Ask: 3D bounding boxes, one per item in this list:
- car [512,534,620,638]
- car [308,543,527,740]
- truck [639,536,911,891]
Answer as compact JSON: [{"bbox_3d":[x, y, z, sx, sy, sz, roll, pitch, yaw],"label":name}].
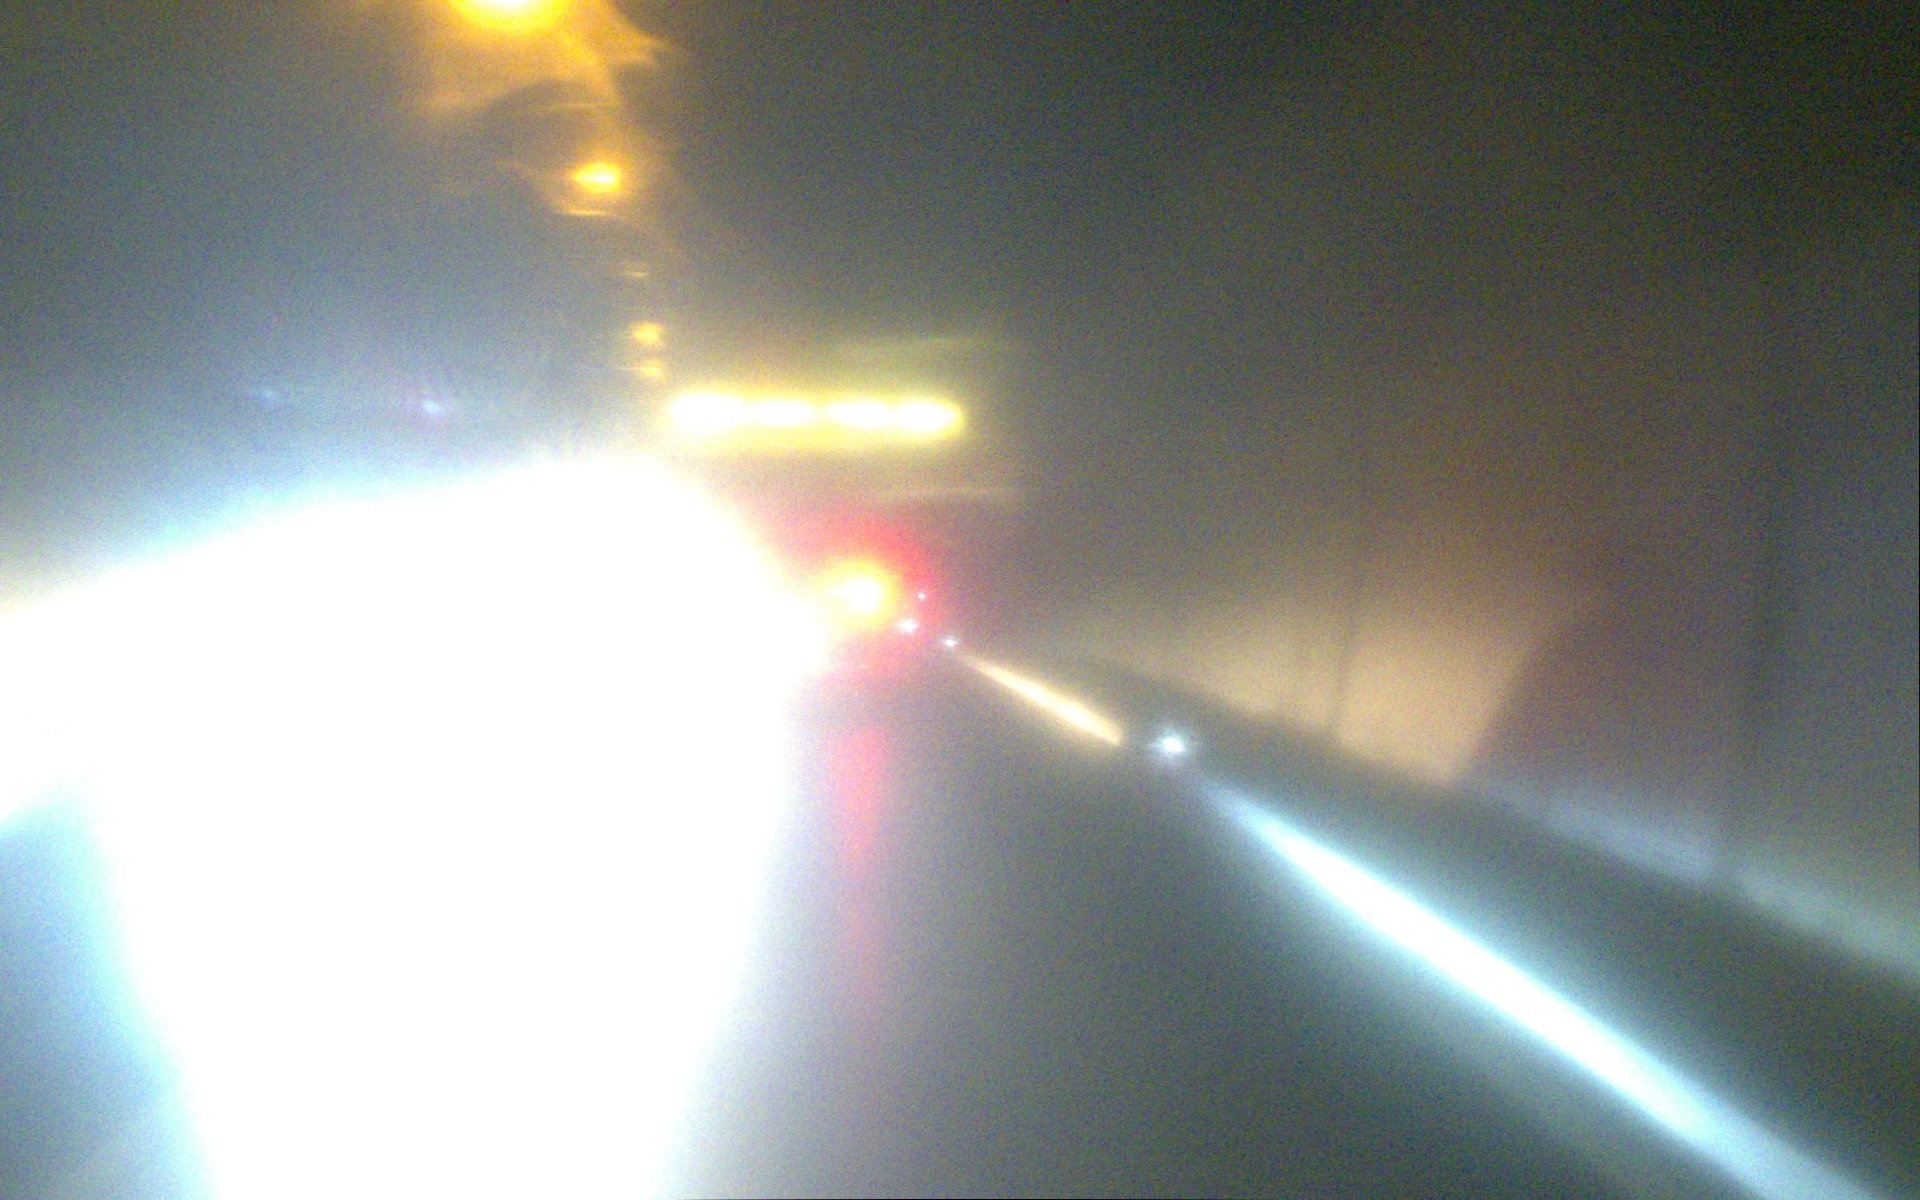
[{"bbox_3d":[-6.209,-0.244,54.429,1.582,1.532,3.177,2,1,-5],"label":"car"},{"bbox_3d":[-4.493,0.285,28.894,1.620,1.512,4.138,0,1,-6],"label":"car"},{"bbox_3d":[-1.811,0.920,33.350,2.262,3.000,7.416,2,1,-3],"label":"truck"}]
